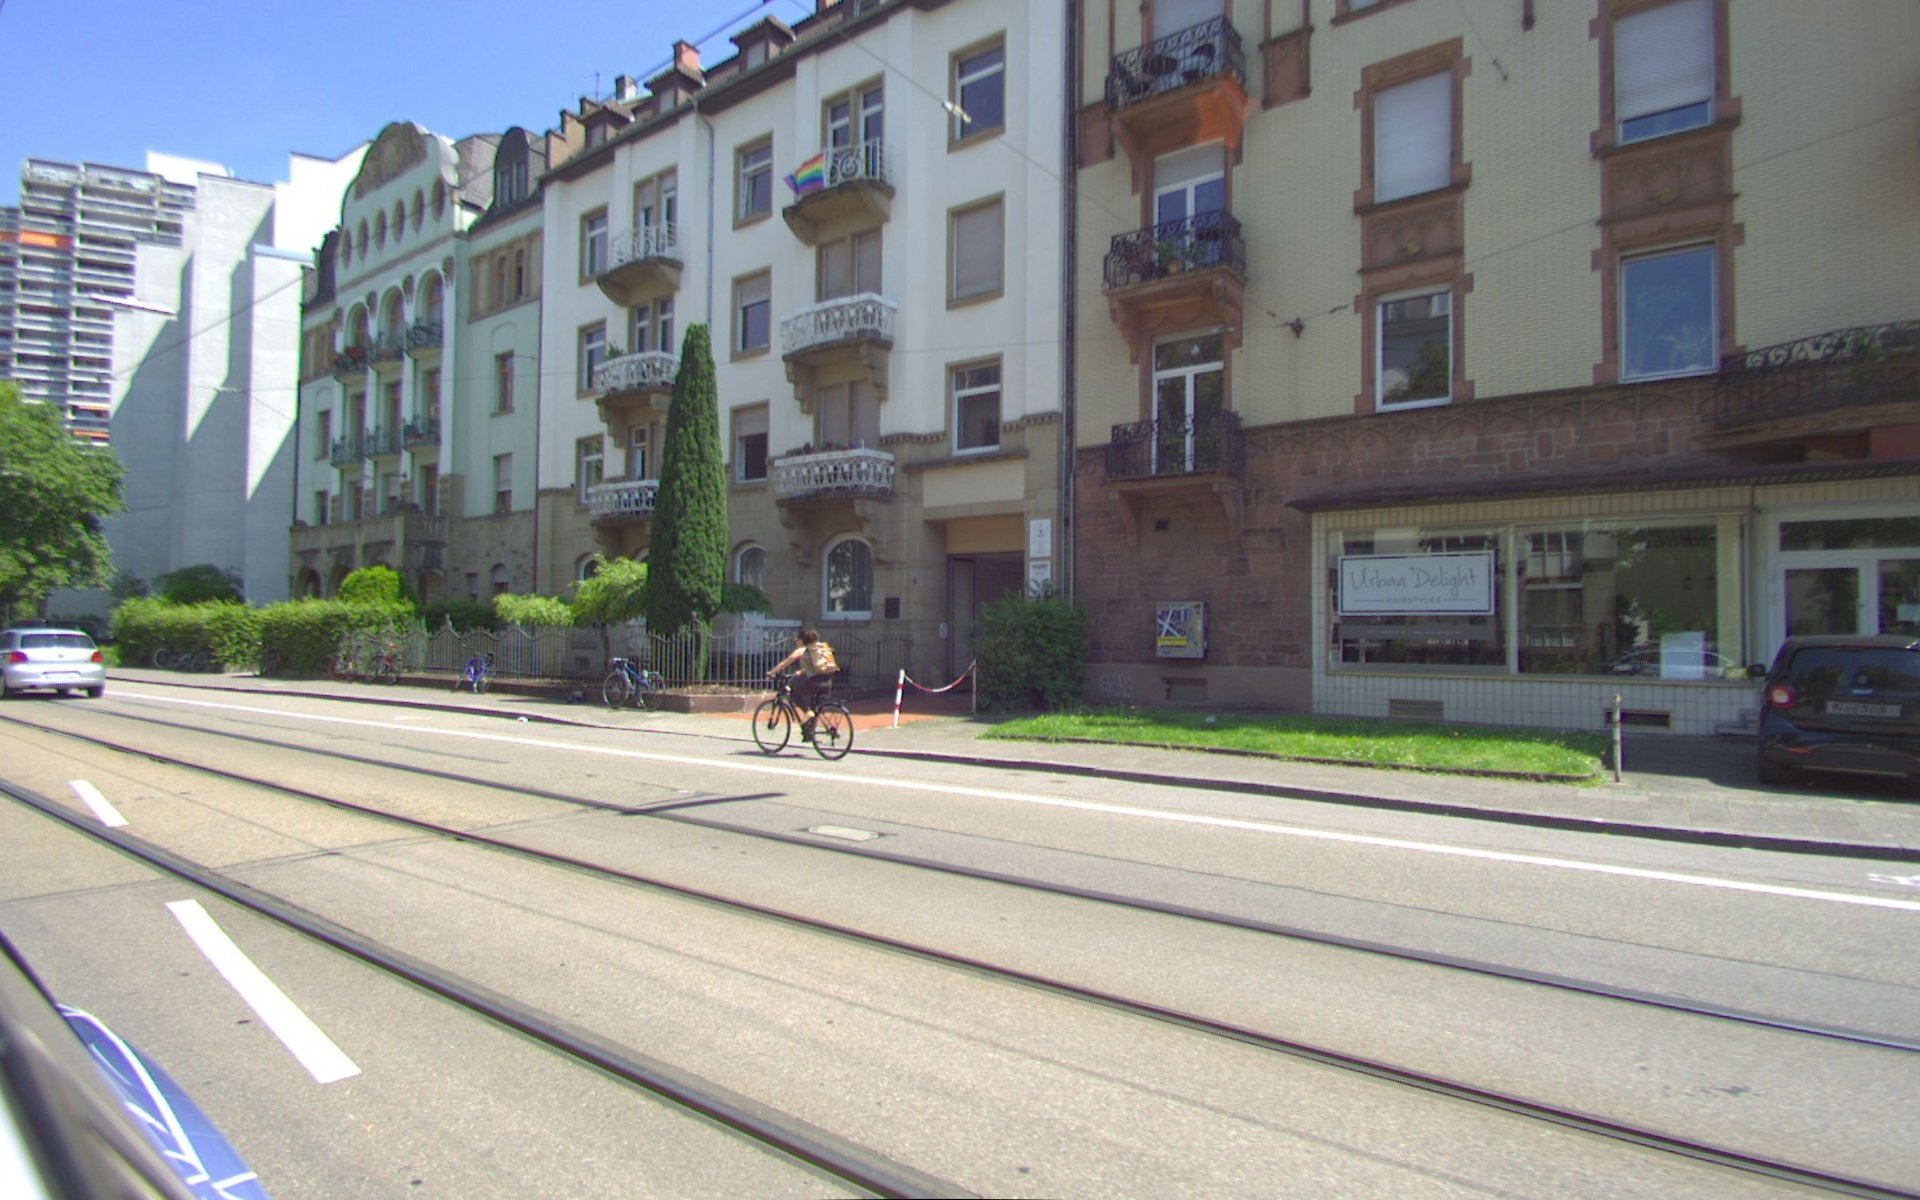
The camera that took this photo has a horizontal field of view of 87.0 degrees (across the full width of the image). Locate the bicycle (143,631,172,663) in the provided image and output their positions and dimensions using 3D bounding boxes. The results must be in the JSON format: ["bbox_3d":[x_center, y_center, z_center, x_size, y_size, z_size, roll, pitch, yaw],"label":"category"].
[{"bbox_3d":[-27.948,1.628,35.257,1.725,1.076,0.336,0,-2,36],"label":"bicycle"}]

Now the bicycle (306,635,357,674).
[{"bbox_3d":[-16.557,1.428,26.644,2.043,0.978,0.395,-1,-2,36],"label":"bicycle"}]

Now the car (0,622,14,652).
[{"bbox_3d":[-51.419,1.921,52.621,1.613,1.561,3.818,1,-2,-15],"label":"car"}]

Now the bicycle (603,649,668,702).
[{"bbox_3d":[-6.018,1.391,18.740,1.611,0.924,0.250,-1,-2,36],"label":"bicycle"}]

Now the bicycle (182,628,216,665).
[{"bbox_3d":[-24.737,1.499,32.874,1.929,1.173,0.336,0,-2,36],"label":"bicycle"}]

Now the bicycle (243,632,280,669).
[{"bbox_3d":[-20.662,1.484,29.935,1.896,1.054,0.286,0,-2,37],"label":"bicycle"}]

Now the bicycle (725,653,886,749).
[{"bbox_3d":[-1.984,1.233,12.808,2.182,1.082,0.638,-1,-3,36],"label":"bicycle"}]

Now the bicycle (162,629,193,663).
[{"bbox_3d":[-26.363,1.541,34.080,1.725,1.076,0.336,0,-2,36],"label":"bicycle"}]

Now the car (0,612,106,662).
[{"bbox_3d":[-38.520,1.526,42.668,1.885,1.985,3.911,1,-1,-4],"label":"car"}]

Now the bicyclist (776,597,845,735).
[{"bbox_3d":[-1.886,0.818,12.764,0.578,1.676,0.604,-1,-3,36],"label":"bicyclist"}]

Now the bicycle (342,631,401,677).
[{"bbox_3d":[-14.724,1.331,25.300,2.043,1.105,0.488,-1,-2,36],"label":"bicycle"}]

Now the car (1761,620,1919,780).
[{"bbox_3d":[9.698,0.961,10.928,1.529,1.483,3.319,-1,-2,40],"label":"car"}]

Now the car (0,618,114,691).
[{"bbox_3d":[-19.849,1.116,21.634,3.816,1.423,1.693,0,-4,35],"label":"car"}]

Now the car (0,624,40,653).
[{"bbox_3d":[-48.654,1.938,51.286,1.468,1.410,3.288,1,-1,-10],"label":"car"}]

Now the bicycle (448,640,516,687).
[{"bbox_3d":[-10.345,1.361,21.893,1.950,0.955,0.457,-1,-2,36],"label":"bicycle"}]
